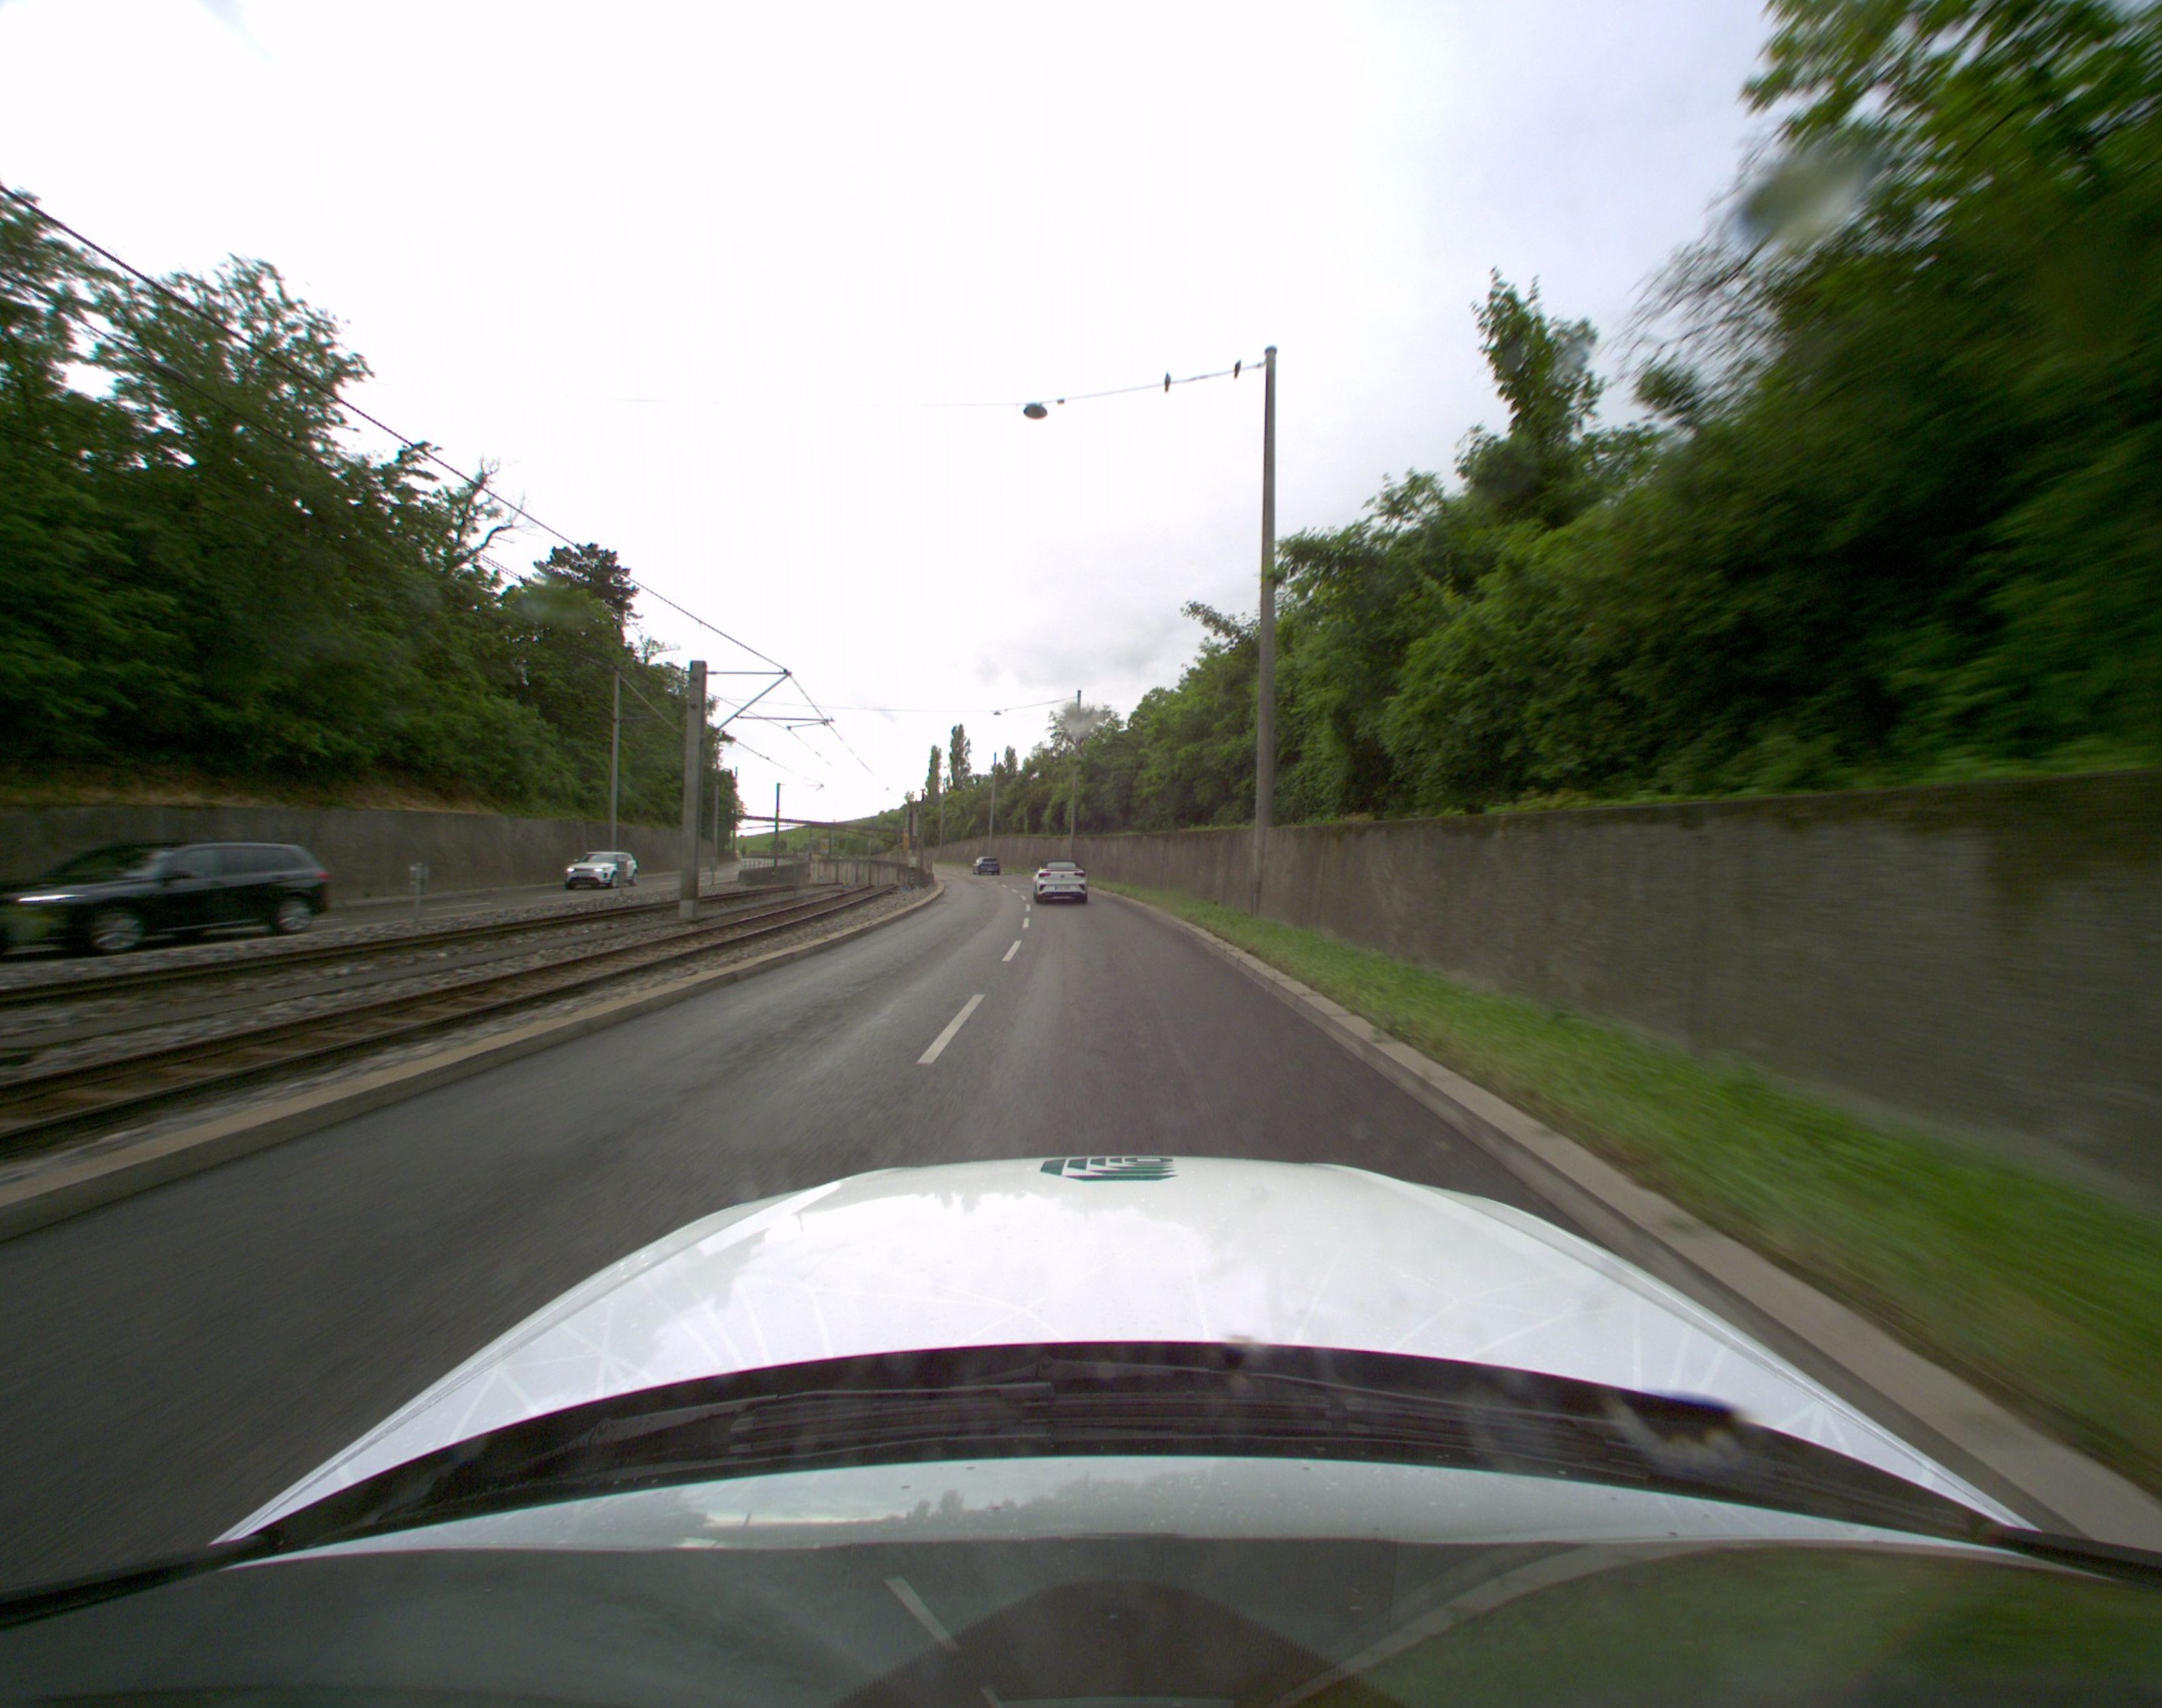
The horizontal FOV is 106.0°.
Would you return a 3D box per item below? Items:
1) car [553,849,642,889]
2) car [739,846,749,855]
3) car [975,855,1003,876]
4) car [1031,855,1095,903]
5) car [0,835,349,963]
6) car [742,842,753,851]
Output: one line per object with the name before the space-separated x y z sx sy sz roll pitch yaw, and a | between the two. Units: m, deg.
car | -21.632 0.640 36.664 1.934 1.683 4.395 0 0 -9
car | -70.134 -0.697 169.520 1.827 1.704 4.076 0 0 -25
car | -7.516 0.904 66.090 1.927 1.599 4.046 0 0 -11
car | -0.725 0.831 29.110 1.993 1.578 4.117 0 0 -6
car | -16.070 0.647 14.178 2.230 1.831 5.129 -1 0 -4
car | -70.989 -1.587 173.337 1.972 1.750 4.104 0 0 -27
